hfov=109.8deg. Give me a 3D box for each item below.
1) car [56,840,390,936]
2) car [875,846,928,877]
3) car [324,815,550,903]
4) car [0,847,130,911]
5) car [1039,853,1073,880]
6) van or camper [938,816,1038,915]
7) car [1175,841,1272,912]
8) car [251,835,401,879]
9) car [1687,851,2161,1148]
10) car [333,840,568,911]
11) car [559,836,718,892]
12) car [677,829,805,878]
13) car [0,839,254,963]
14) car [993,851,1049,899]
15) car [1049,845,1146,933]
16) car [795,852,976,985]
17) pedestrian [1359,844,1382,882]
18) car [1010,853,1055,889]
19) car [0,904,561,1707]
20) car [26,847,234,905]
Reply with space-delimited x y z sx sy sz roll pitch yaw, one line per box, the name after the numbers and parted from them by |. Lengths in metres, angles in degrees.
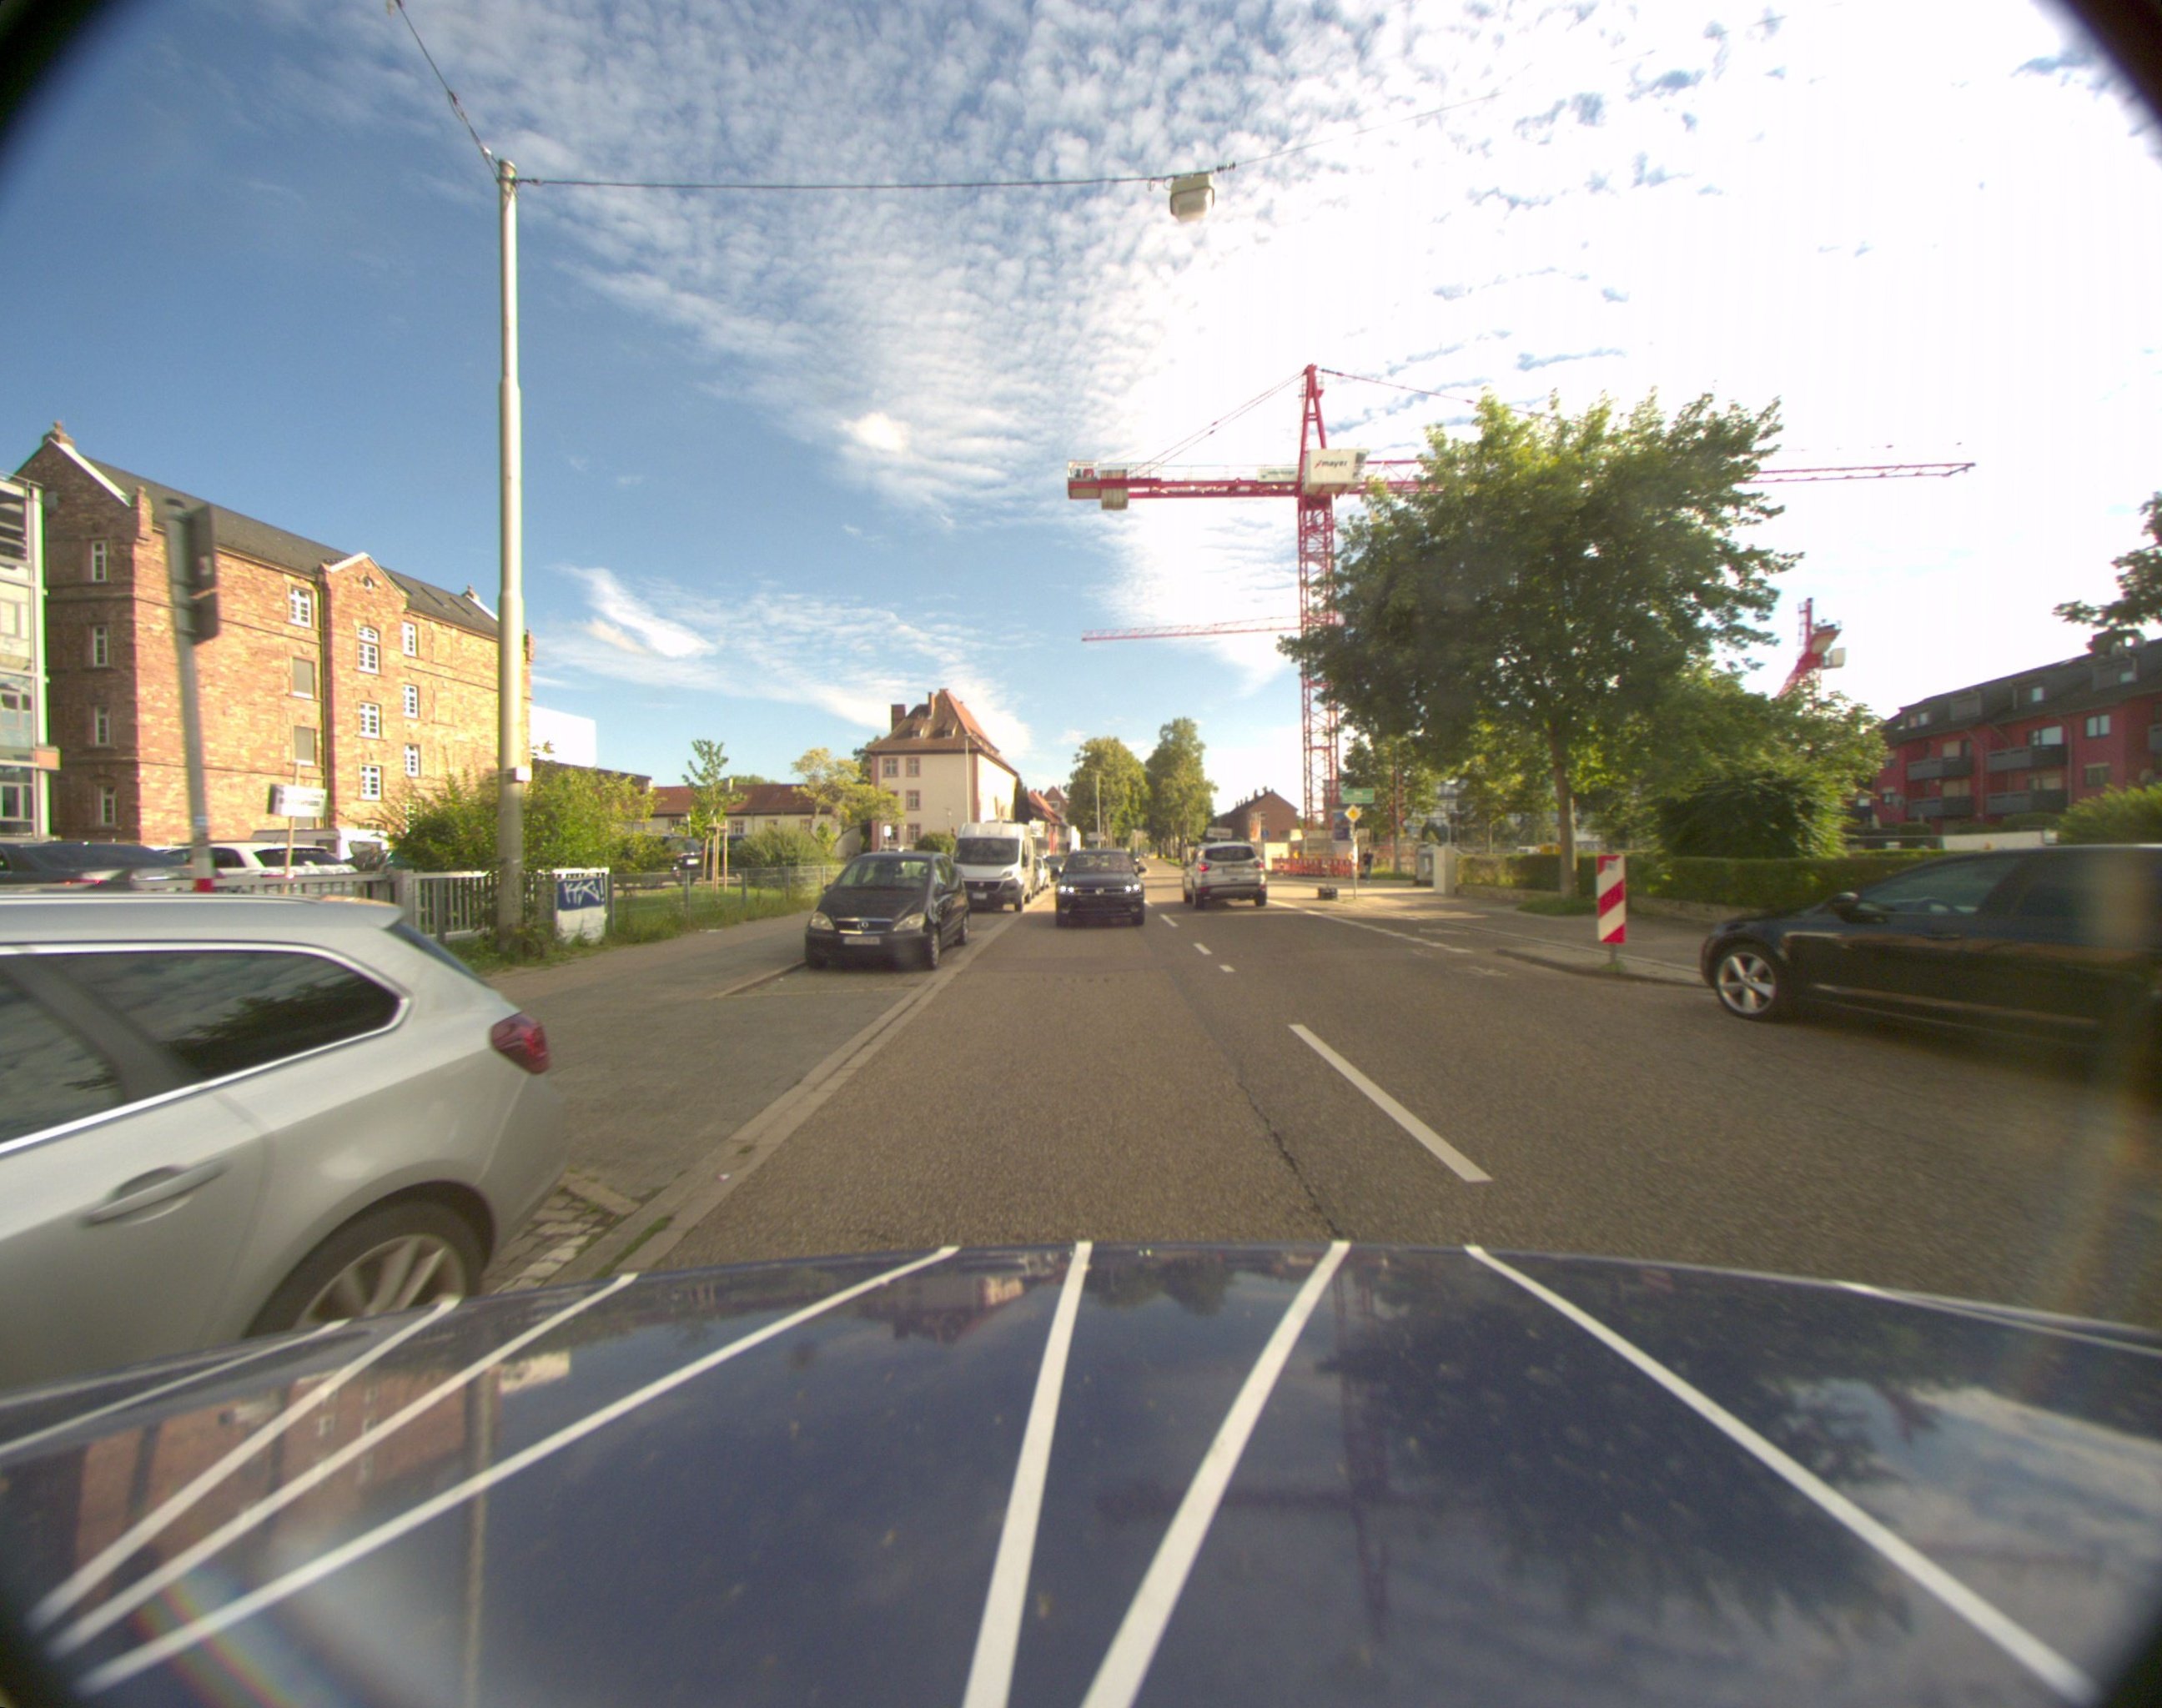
-14.586 0.549 13.037 4.084 1.473 1.872 -1 1 10 | car
-10.412 0.426 44.386 1.888 1.709 4.091 -1 1 3 | car
-17.368 0.131 20.651 4.276 2.179 2.368 -1 1 8 | car
-26.944 0.626 19.130 4.085 1.473 1.871 -1 1 8 | car
-1.413 0.697 44.343 1.662 1.477 4.000 -1 1 3 | car
-2.552 0.270 22.434 2.165 2.512 5.913 1 1 0 | van or camper
3.715 0.520 20.469 1.834 1.659 4.084 -2 1 1 | car
-28.377 0.097 28.618 4.085 1.494 1.871 -1 1 8 | car
6.409 0.750 4.555 1.932 1.477 4.419 1 1 -1 | car
-14.382 0.475 17.441 4.084 1.473 1.872 -1 1 10 | car
-13.290 0.281 22.933 3.793 1.556 1.872 -1 1 10 | car
-12.364 -0.033 27.781 3.794 1.649 1.871 -1 1 8 | car
-14.294 0.598 10.180 4.675 1.473 1.871 -1 1 6 | car
-2.237 0.728 29.134 1.677 1.639 4.204 1 1 2 | car
0.453 0.674 16.999 1.859 1.673 4.001 -2 1 4 | car
-2.716 0.800 11.474 1.677 1.593 3.969 1 1 0 | car
13.528 0.407 35.523 0.743 1.758 0.775 0 1 -1 | pedestrian
-2.126 0.714 34.475 1.662 1.477 4.000 -1 1 2 | car
-2.660 0.941 0.312 1.767 1.515 4.330 0 1 2 | car
-27.307 0.607 21.890 4.085 1.494 1.871 -1 1 8 | car
